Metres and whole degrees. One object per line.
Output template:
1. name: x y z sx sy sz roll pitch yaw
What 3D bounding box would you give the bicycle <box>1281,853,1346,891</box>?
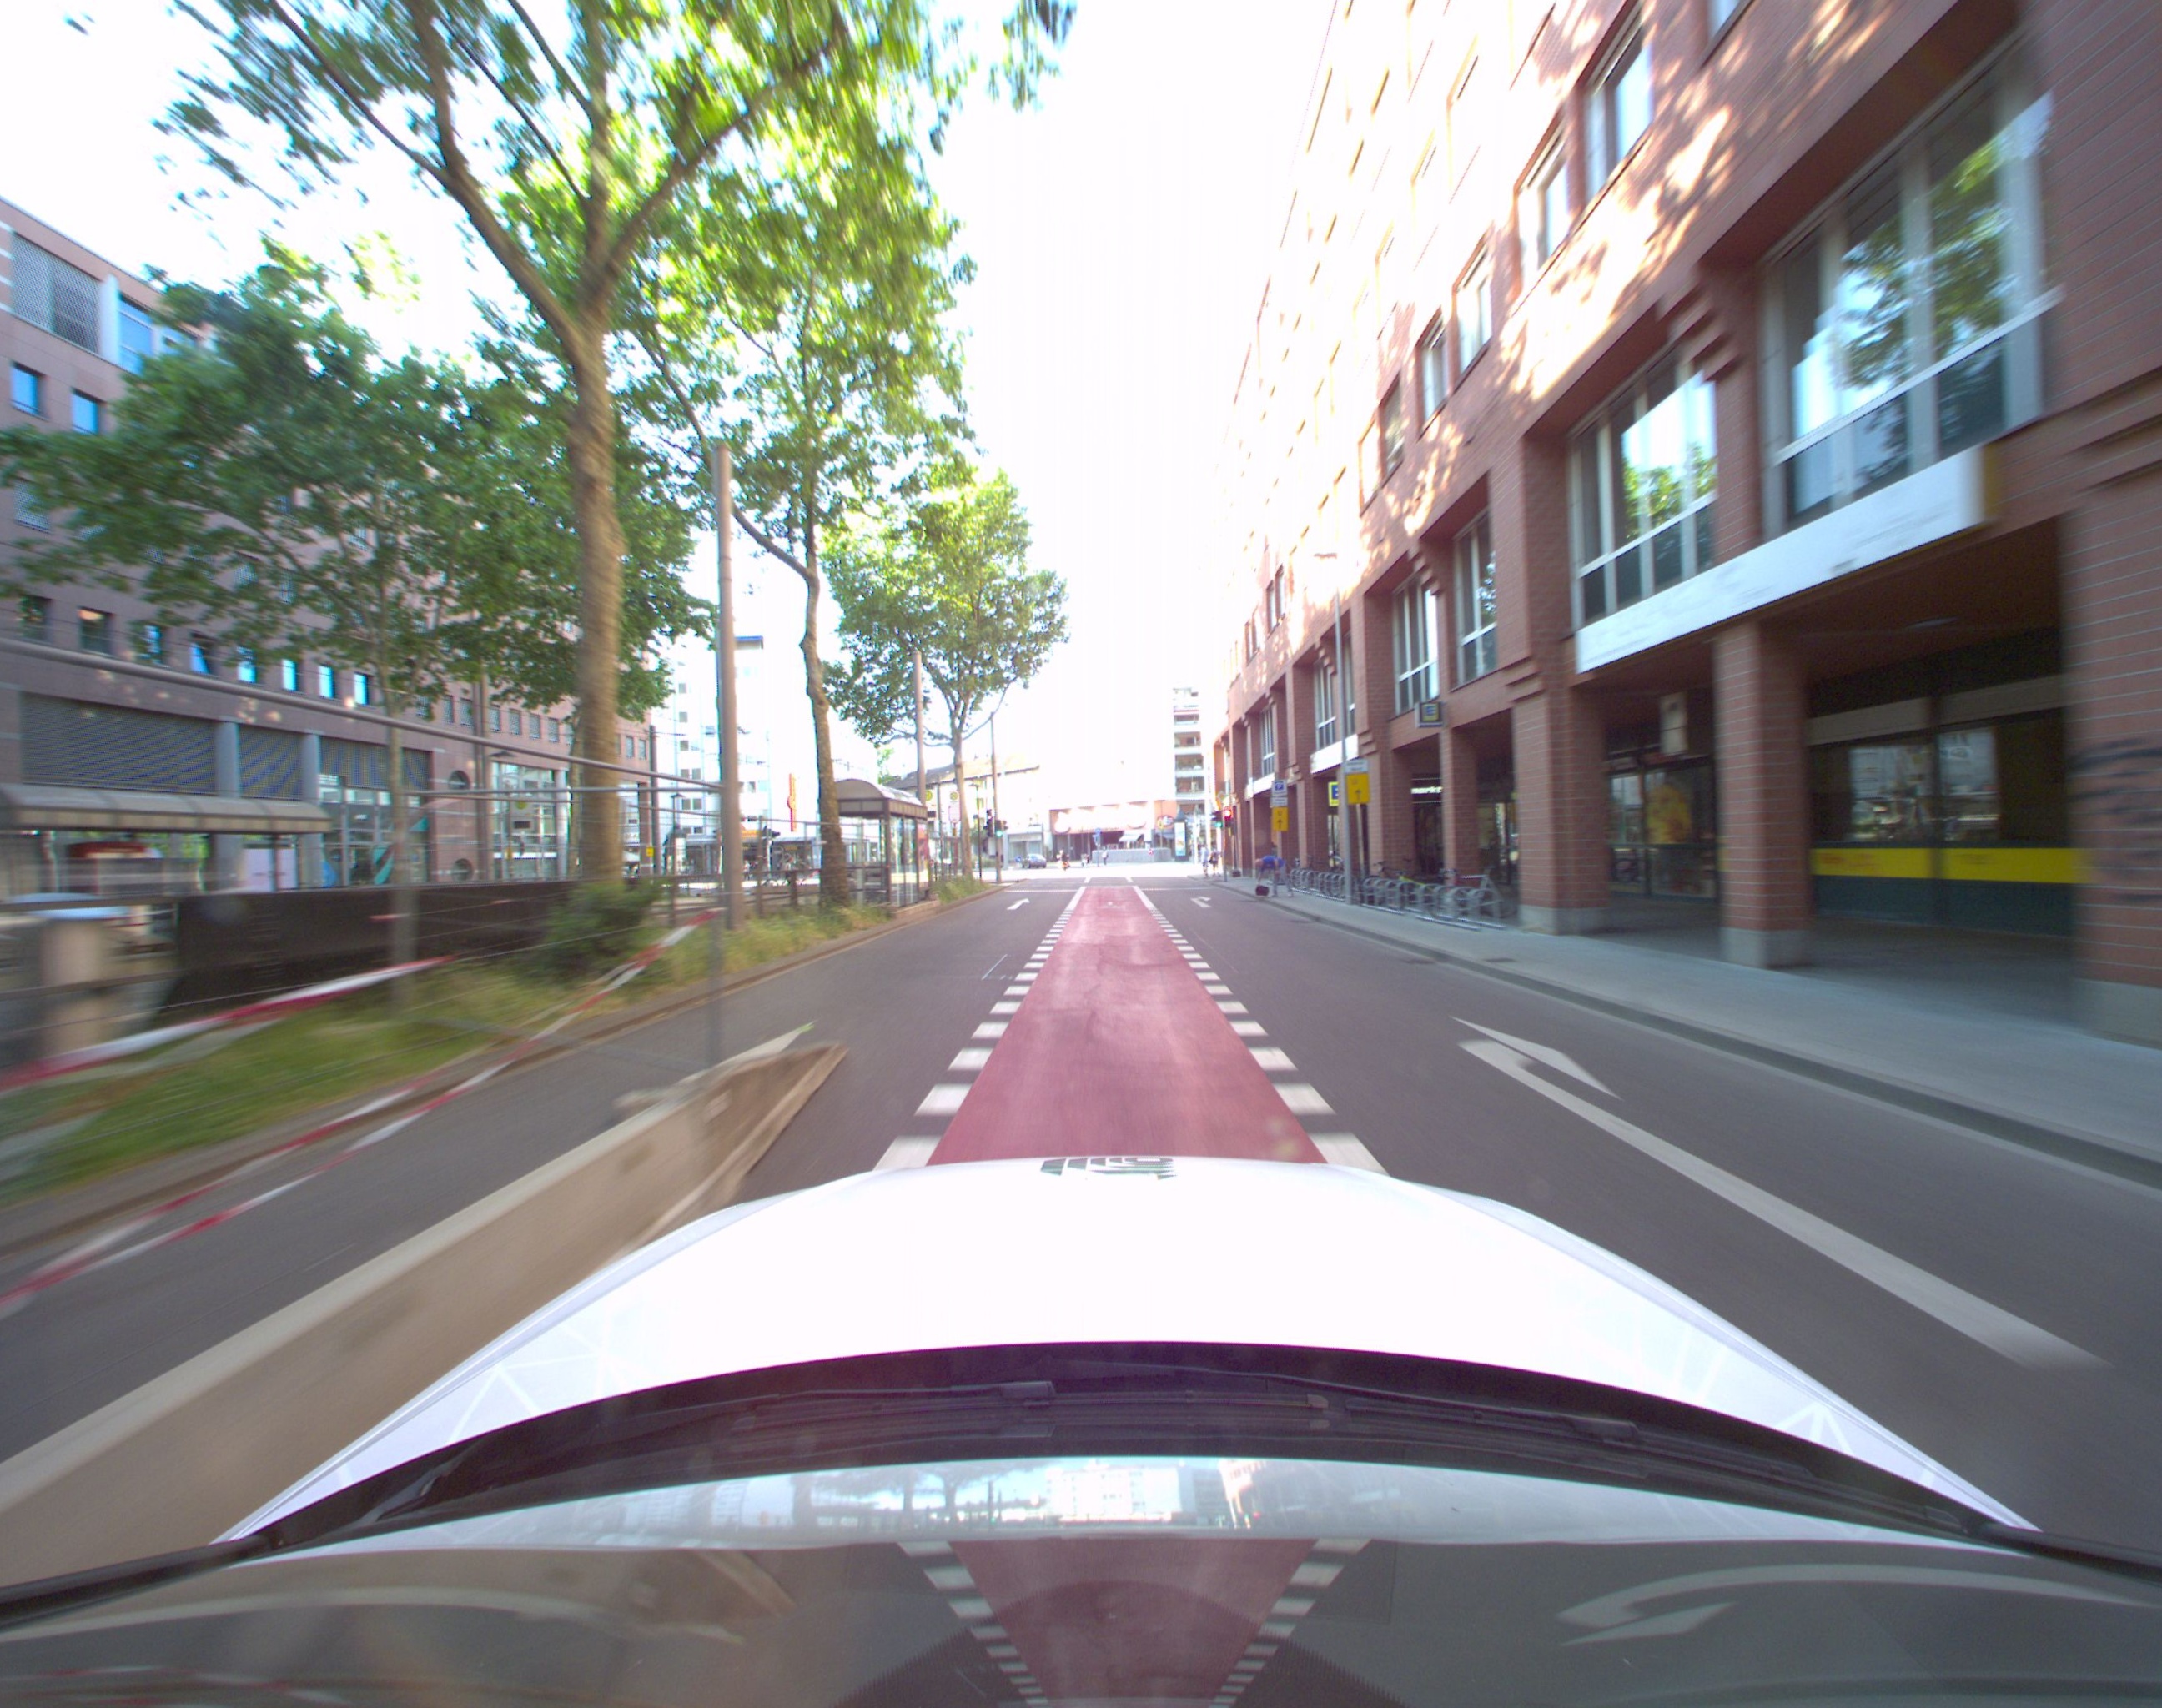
1. bicycle: 7.367 0.563 25.830 1.884 1.119 0.475 -2 0 1

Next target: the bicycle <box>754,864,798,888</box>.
1. bicycle: -14.041 1.012 37.561 1.822 1.078 0.481 -2 0 2

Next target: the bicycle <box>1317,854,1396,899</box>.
1. bicycle: 7.330 0.599 21.727 1.884 1.119 0.550 -2 0 1

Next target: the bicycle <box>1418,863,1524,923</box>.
1. bicycle: 7.089 0.697 14.858 1.605 0.955 0.555 -4 0 3

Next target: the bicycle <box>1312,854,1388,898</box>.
1. bicycle: 7.398 0.595 22.427 1.884 1.119 0.475 -2 0 1

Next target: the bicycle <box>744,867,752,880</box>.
1. bicycle: -29.578 1.727 72.382 0.597 1.053 1.990 -2 1 -24

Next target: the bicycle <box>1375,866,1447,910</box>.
1. bicycle: 7.122 0.737 17.611 1.328 0.841 0.425 -4 0 3

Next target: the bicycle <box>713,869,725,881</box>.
1. bicycle: -31.920 1.851 71.827 0.596 1.053 1.995 -2 1 -16

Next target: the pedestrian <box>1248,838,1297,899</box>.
1. pedestrian: 5.654 0.412 24.127 1.189 1.696 0.886 -4 0 4

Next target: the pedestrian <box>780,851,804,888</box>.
1. pedestrian: -13.831 0.716 38.999 0.775 1.734 0.848 -2 0 -2

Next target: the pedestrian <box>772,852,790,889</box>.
1. pedestrian: -14.013 0.763 38.068 0.564 1.680 0.531 -2 0 3

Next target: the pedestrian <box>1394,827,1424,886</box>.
1. pedestrian: 10.328 0.076 25.652 0.657 1.796 0.608 -2 0 -3

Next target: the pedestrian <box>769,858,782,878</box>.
1. pedestrian: -27.133 1.231 72.229 0.802 1.724 0.777 -1 0 2

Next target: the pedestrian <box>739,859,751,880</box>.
1. pedestrian: -28.815 1.308 69.901 0.625 1.791 0.785 -1 0 3

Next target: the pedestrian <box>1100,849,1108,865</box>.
1. pedestrian: 2.352 0.337 82.596 0.544 1.583 0.550 -1 0 -41

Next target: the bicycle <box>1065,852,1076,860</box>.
1. bicycle: -1.389 0.281 109.028 0.499 1.038 1.618 -1 0 -43

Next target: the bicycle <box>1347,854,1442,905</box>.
1. bicycle: 7.291 0.598 18.999 1.924 1.057 0.573 -4 0 4

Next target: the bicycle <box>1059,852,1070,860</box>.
1. bicycle: -2.157 0.295 108.708 0.499 1.038 1.618 -1 0 -43

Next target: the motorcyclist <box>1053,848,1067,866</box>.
1. motorcyclist: -1.594 0.197 62.290 0.967 1.347 1.138 0 0 1

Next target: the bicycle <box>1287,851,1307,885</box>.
1. bicycle: 7.765 0.477 29.298 0.338 1.183 1.680 -2 0 3

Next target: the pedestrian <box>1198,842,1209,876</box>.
1. pedestrian: 6.482 0.254 43.172 0.474 1.792 0.541 -1 0 1

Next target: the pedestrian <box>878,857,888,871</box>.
1. pedestrian: -24.848 1.273 102.217 0.766 1.724 0.812 -2 -1 43

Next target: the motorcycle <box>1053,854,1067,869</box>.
1. motorcycle: -1.576 0.548 62.329 0.969 1.132 2.805 0 0 1

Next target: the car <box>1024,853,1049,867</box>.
1. car: -4.644 0.583 84.224 1.925 1.388 3.982 -1 0 -13

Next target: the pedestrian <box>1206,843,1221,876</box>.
1. pedestrian: 7.002 0.282 42.988 0.631 1.725 0.630 -1 0 1
